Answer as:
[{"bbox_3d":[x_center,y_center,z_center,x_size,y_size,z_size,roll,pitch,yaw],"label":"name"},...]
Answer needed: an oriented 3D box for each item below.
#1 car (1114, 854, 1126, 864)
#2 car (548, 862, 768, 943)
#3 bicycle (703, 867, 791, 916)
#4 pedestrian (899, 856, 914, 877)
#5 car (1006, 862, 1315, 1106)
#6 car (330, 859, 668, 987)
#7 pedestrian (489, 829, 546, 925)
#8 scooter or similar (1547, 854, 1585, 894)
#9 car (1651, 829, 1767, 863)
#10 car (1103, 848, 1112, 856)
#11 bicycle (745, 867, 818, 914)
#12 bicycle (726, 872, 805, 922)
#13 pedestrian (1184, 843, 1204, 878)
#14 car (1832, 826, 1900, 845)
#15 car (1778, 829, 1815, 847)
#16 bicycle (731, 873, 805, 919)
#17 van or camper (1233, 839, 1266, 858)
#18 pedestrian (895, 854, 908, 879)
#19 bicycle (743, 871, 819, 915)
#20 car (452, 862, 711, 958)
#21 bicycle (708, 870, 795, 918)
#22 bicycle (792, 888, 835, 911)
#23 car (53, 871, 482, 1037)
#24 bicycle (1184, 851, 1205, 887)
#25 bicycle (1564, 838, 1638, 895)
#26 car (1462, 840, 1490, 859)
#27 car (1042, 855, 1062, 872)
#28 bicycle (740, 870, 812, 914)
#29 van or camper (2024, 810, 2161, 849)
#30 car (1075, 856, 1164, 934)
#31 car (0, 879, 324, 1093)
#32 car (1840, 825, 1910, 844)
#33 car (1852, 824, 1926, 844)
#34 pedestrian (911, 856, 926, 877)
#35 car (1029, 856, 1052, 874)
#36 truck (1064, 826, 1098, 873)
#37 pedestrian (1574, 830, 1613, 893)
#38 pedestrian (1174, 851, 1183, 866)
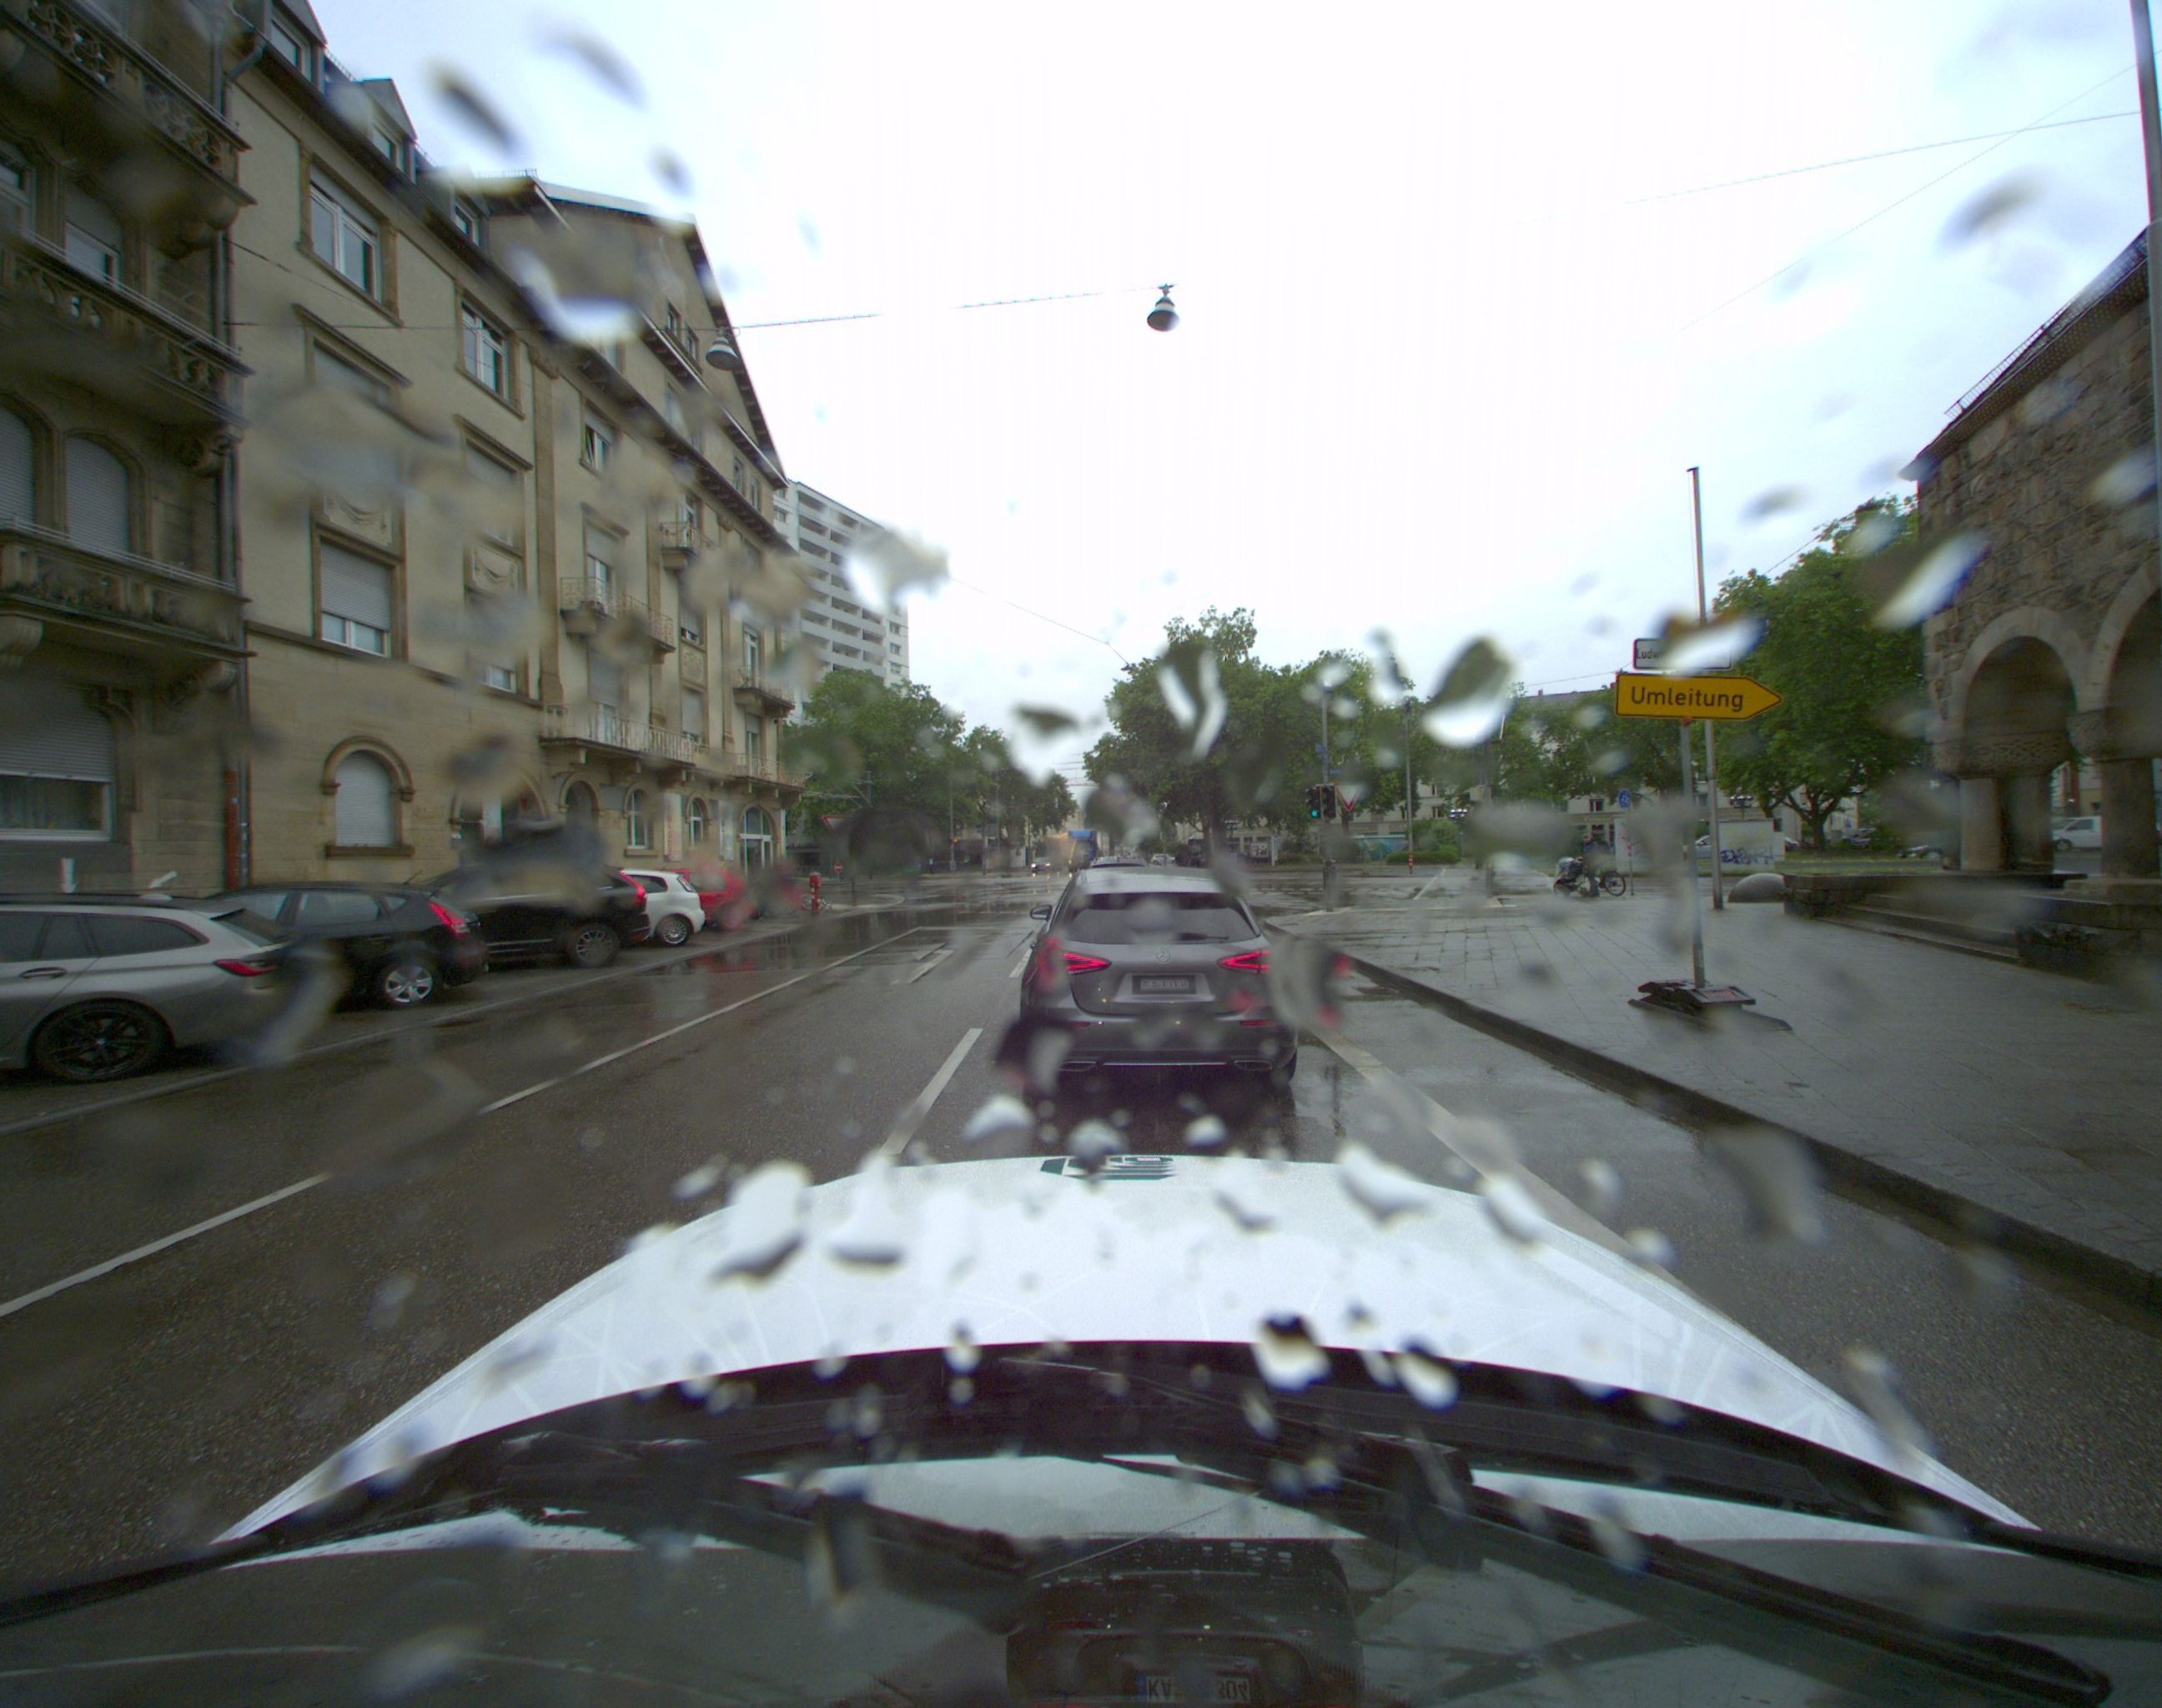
[{"bbox_3d":[6.798,0.877,143.098,1.987,1.574,4.000,-2,-1,1],"label":"car"},{"bbox_3d":[-9.433,1.007,18.356,1.781,1.508,4.024,-2,0,44],"label":"car"},{"bbox_3d":[-10.096,1.118,24.640,2.335,1.346,0.639,-2,0,-4],"label":"bicycle"},{"bbox_3d":[-13.998,1.013,65.301,0.785,1.648,0.820,-3,0,17],"label":"pedestrian"},{"bbox_3d":[0.516,0.770,6.482,1.784,1.372,3.508,0,0,2],"label":"car"},{"bbox_3d":[-8.956,0.934,12.854,4.104,1.692,1.744,0,0,-38],"label":"car"},{"bbox_3d":[-14.041,0.570,20.306,0.838,2.340,0.768,-2,0,24],"label":"pedestrian"},{"bbox_3d":[13.306,0.543,22.339,0.511,1.048,0.925,-2,0,4],"label":"scooter or similar"},{"bbox_3d":[32.984,-0.394,42.913,4.499,1.599,1.802,-2,0,24],"label":"car"},{"bbox_3d":[7.129,-0.524,218.777,1.880,1.836,4.006,-2,-1,6],"label":"car"},{"bbox_3d":[-8.862,1.077,24.117,1.967,1.330,0.438,-2,0,3],"label":"bicycle"},{"bbox_3d":[-8.288,1.124,21.415,1.800,1.184,0.601,2,0,7],"label":"bicycle"},{"bbox_3d":[4.628,0.263,33.290,0.740,1.398,1.049,-3,0,8],"label":"pedestrian"},{"bbox_3d":[68.963,-1.626,71.619,3.950,1.452,1.687,-2,-1,27],"label":"car"},{"bbox_3d":[68.841,-1.518,78.393,1.694,1.618,4.024,-1,-1,27],"label":"car"},{"bbox_3d":[-8.631,1.151,22.510,1.804,1.184,0.475,2,0,0],"label":"bicycle"},{"bbox_3d":[20.960,-0.675,100.945,2.373,2.231,5.463,-2,-1,29],"label":"van or camper"},{"bbox_3d":[-13.883,0.957,62.831,0.683,1.838,0.632,-2,-1,-40],"label":"pedestrian"},{"bbox_3d":[-8.670,1.116,23.553,1.974,1.185,0.475,2,-1,-2],"label":"bicycle"},{"bbox_3d":[-9.325,0.944,15.361,4.013,1.533,1.685,0,0,-38],"label":"car"},{"bbox_3d":[-10.198,1.219,25.267,2.335,1.346,0.639,-3,0,-4],"label":"bicycle"},{"bbox_3d":[-8.441,1.429,25.645,1.045,0.663,1.464,1,-1,-29],"label":"bicycle"},{"bbox_3d":[-9.087,1.002,9.533,3.326,1.525,1.682,0,0,-37],"label":"car"},{"bbox_3d":[4.661,0.598,33.388,0.745,1.377,2.714,-3,0,9],"label":"bicycle"},{"bbox_3d":[14.186,0.319,22.284,0.531,1.466,1.935,-2,0,-8],"label":"bicycle"},{"bbox_3d":[35.136,-0.386,72.571,1.650,1.521,3.695,-2,-1,17],"label":"car"},{"bbox_3d":[-2.931,0.960,84.147,1.720,1.546,4.341,-2,0,1],"label":"car"},{"bbox_3d":[-8.601,1.074,23.015,1.804,1.184,0.468,2,0,-1],"label":"bicycle"},{"bbox_3d":[55.908,-1.338,44.936,4.615,1.914,2.011,-2,0,21],"label":"van or camper"},{"bbox_3d":[0.775,0.767,17.137,1.601,1.372,4.002,-3,0,2],"label":"car"},{"bbox_3d":[-8.777,1.039,6.798,3.446,1.544,1.682,0,0,-38],"label":"car"},{"bbox_3d":[67.862,-1.649,69.692,3.950,1.452,1.687,-2,-1,27],"label":"car"},{"bbox_3d":[66.823,-1.621,67.414,3.950,1.452,1.687,-2,-1,27],"label":"car"},{"bbox_3d":[-12.948,0.984,65.017,0.828,1.648,0.759,-3,0,17],"label":"pedestrian"},{"bbox_3d":[-3.718,1.003,75.455,1.737,1.546,3.780,-2,0,1],"label":"car"},{"bbox_3d":[0.114,-0.411,76.981,2.835,4.025,10.319,-2,0,1],"label":"truck"},{"bbox_3d":[13.842,0.200,22.011,0.600,1.663,0.690,-2,0,5],"label":"pedestrian"},{"bbox_3d":[11.387,0.501,95.241,0.668,1.669,0.710,-1,-1,-40],"label":"pedestrian"}]
